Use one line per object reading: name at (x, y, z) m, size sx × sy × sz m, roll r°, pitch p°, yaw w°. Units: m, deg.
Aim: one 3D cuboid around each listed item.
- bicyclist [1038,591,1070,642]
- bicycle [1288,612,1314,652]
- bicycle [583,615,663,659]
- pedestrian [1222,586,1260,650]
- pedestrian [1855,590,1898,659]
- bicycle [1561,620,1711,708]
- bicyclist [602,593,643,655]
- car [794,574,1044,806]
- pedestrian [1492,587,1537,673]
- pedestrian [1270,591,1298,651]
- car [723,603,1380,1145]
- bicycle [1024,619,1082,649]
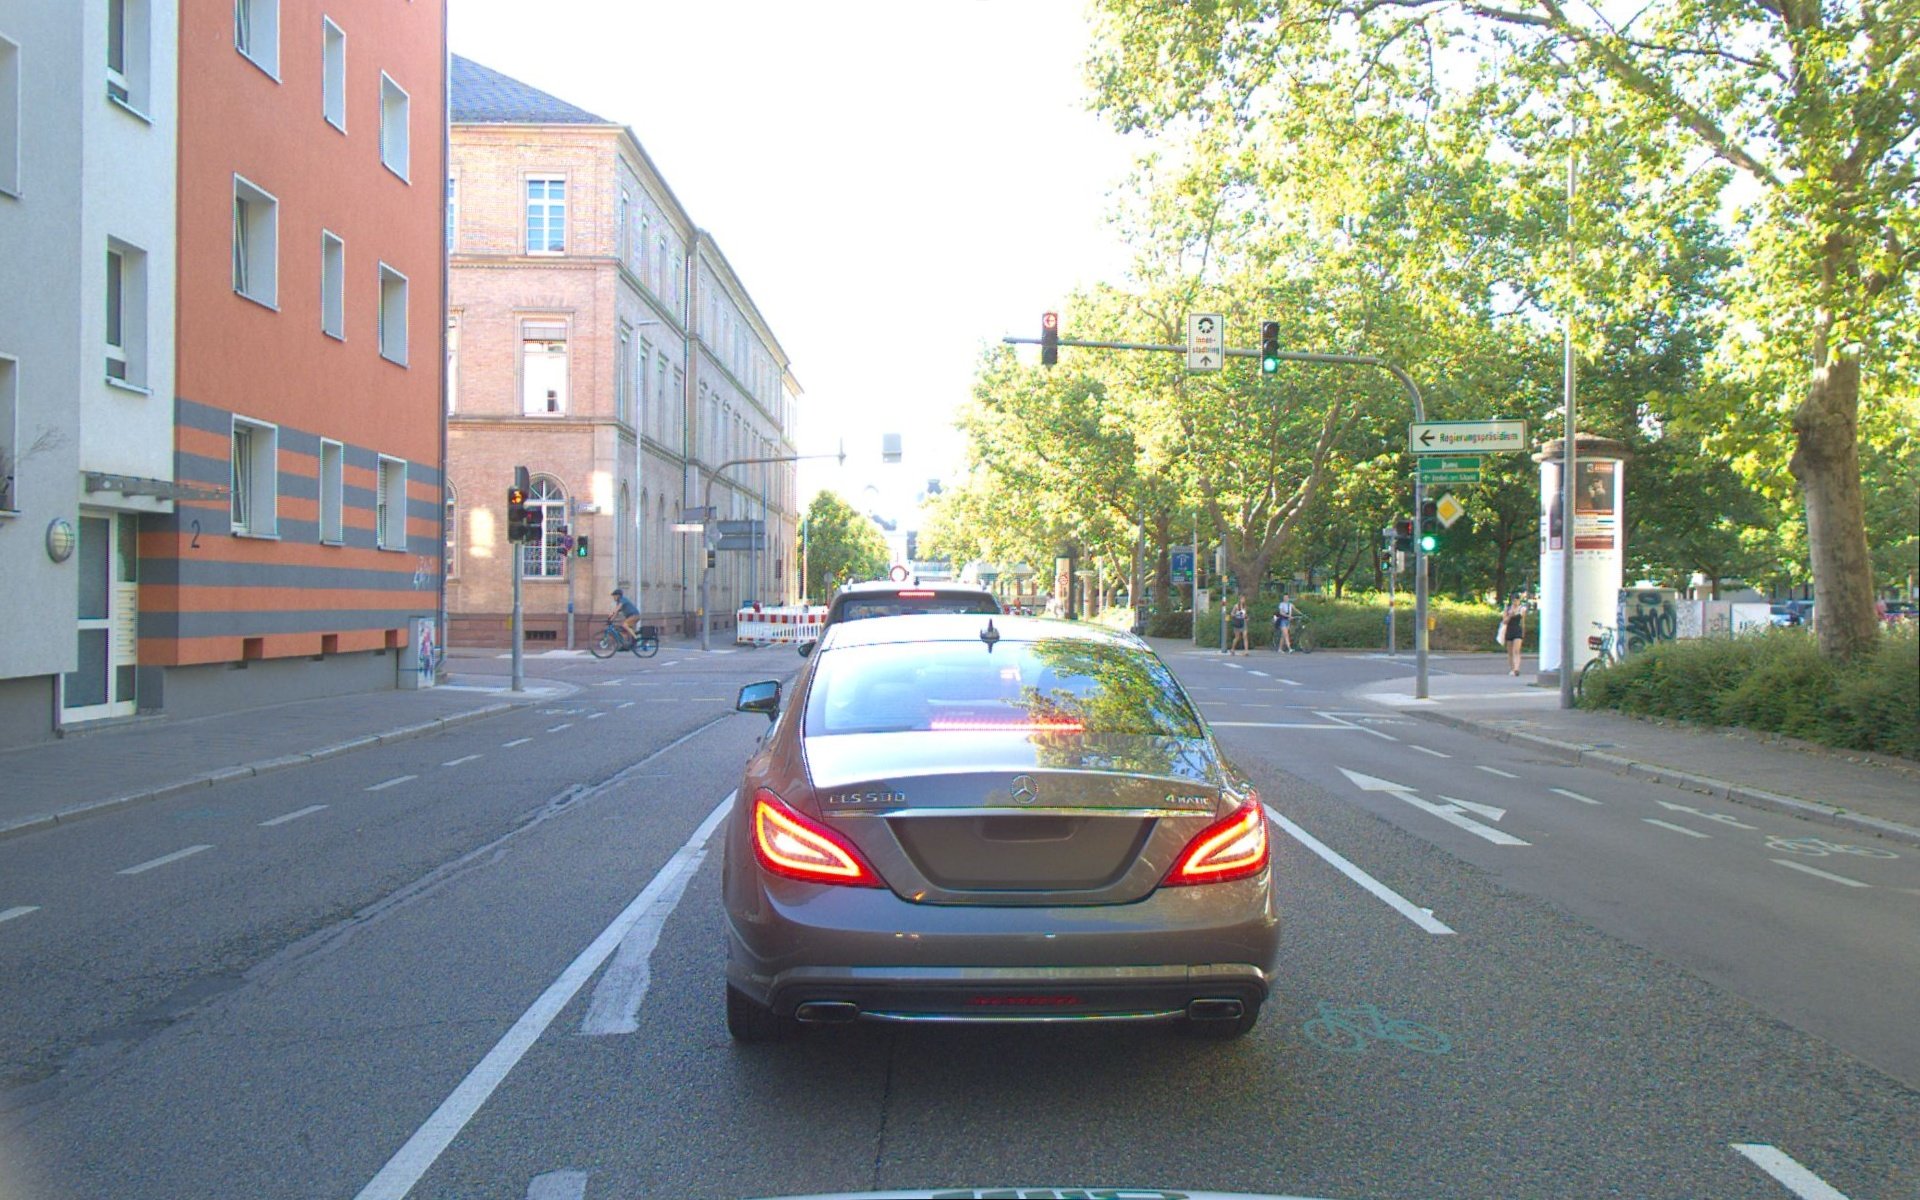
bicyclist at (2.951, 0.508, 51.901) m, size 0.795 × 1.586 × 0.644 m, roll 1°, pitch -1°, yaw -30°
bicycle at (9.982, 0.929, 48.394) m, size 0.513 × 1.119 × 1.742 m, roll 1°, pitch 0°, yaw 5°
bicycle at (-8.424, 0.922, 41.371) m, size 1.924 × 1.081 × 0.703 m, roll 1°, pitch 0°, yaw -15°
pedestrian at (8.243, 0.533, 48.519) m, size 0.722 × 1.840 × 0.903 m, roll 0°, pitch -2°, yaw -22°
pedestrian at (24.978, 0.668, 45.072) m, size 0.765 × 1.867 × 0.685 m, roll 1°, pitch -1°, yaw -8°
bicycle at (9.701, 0.910, 23.756) m, size 1.936 × 1.210 × 0.528 m, roll 1°, pitch -1°, yaw -2°
bicyclist at (-8.452, 0.594, 41.362) m, size 0.934 × 1.526 × 0.819 m, roll 1°, pitch -1°, yaw -15°
car at (-0.262, 0.646, 13.716) m, size 1.772 × 1.641 × 4.000 m, roll 0°, pitch 0°, yaw 1°
pedestrian at (10.931, 0.585, 32.636) m, size 0.781 × 1.659 × 0.908 m, roll 1°, pitch -1°, yaw 16°
pedestrian at (9.520, 0.619, 48.600) m, size 0.669 × 1.727 × 0.971 m, roll 1°, pitch 0°, yaw 3°
car at (0.045, 0.757, 6.791) m, size 1.807 × 1.454 × 4.511 m, roll 1°, pitch 0°, yaw -6°
bicycle at (2.926, 1.065, 51.897) m, size 1.842 × 0.906 × 0.544 m, roll 1°, pitch -1°, yaw -31°
